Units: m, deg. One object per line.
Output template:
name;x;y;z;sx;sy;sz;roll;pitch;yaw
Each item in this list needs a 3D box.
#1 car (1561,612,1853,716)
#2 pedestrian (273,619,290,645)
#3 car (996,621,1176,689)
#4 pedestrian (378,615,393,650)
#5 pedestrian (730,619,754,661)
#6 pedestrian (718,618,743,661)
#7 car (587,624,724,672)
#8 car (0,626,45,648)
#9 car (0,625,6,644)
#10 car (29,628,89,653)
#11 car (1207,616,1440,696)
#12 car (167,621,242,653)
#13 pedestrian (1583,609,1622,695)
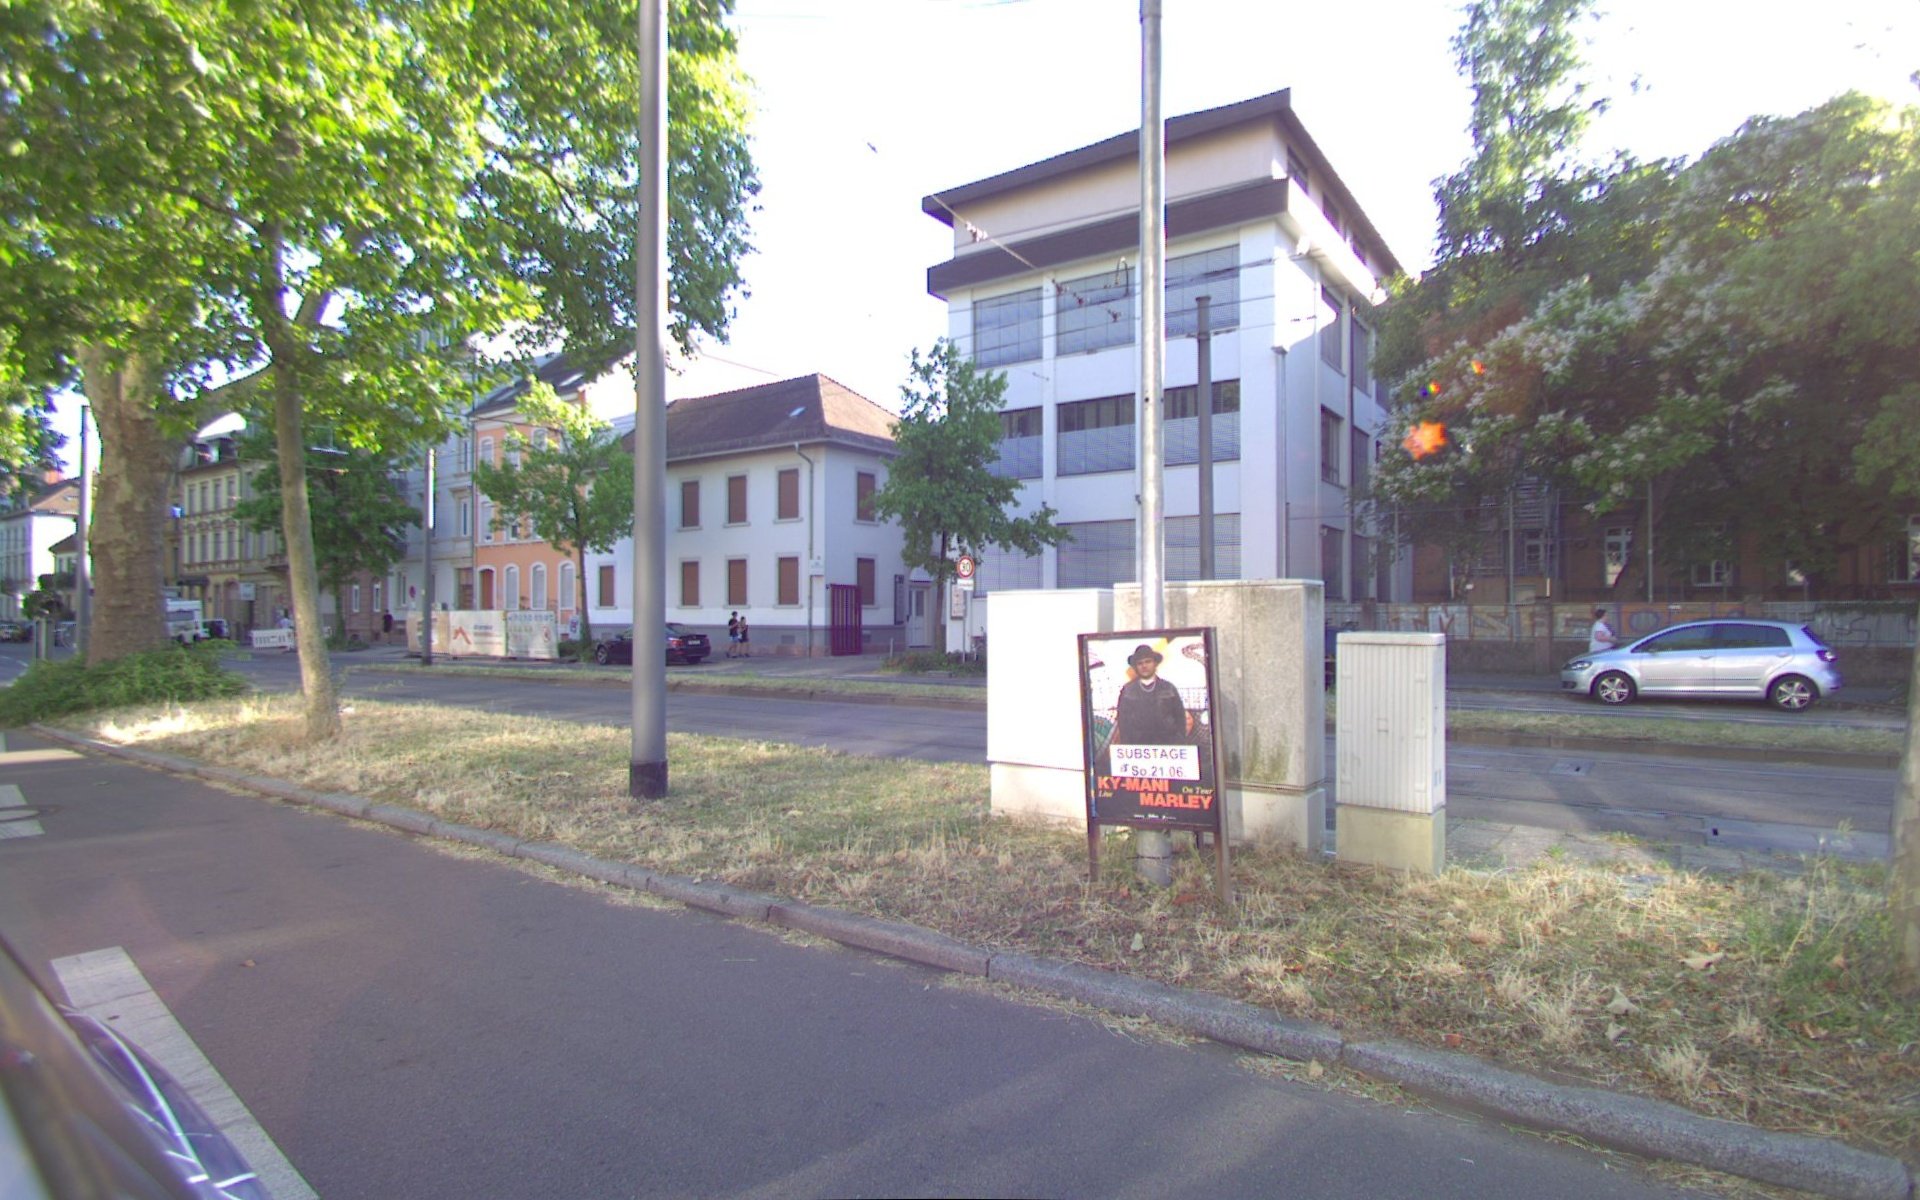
car;13.448;1.086;18.561;4.086;1.631;2.065;-1;1;33
pedestrian;-40.476;1.921;60.392;0.612;1.540;0.636;-1;-2;26
car;3.162;1.334;25.554;3.985;1.501;2.065;-1;1;33
pedestrian;-30.423;1.712;53.624;0.553;1.823;0.706;1;-2;-41
pedestrian;-8.071;1.471;37.490;0.710;1.540;0.531;-1;-2;35
pedestrian;-8.264;1.405;36.413;0.708;1.540;0.532;-1;-2;29
car;-10.574;1.612;35.036;4.566;1.481;2.065;-1;1;33
car;-73.868;2.859;79.207;5.090;1.551;2.065;-1;1;33
car;-81.333;2.904;84.116;4.027;1.551;2.065;-1;1;33
car;-63.457;2.827;71.280;4.503;1.551;2.065;-1;1;33
car;7.922;1.157;22.176;4.444;1.513;2.065;-1;1;33
car;-44.054;2.113;59.026;4.520;1.686;2.065;-1;1;33
pedestrian;12.946;1.034;20.387;0.630;1.677;0.563;-1;1;34
